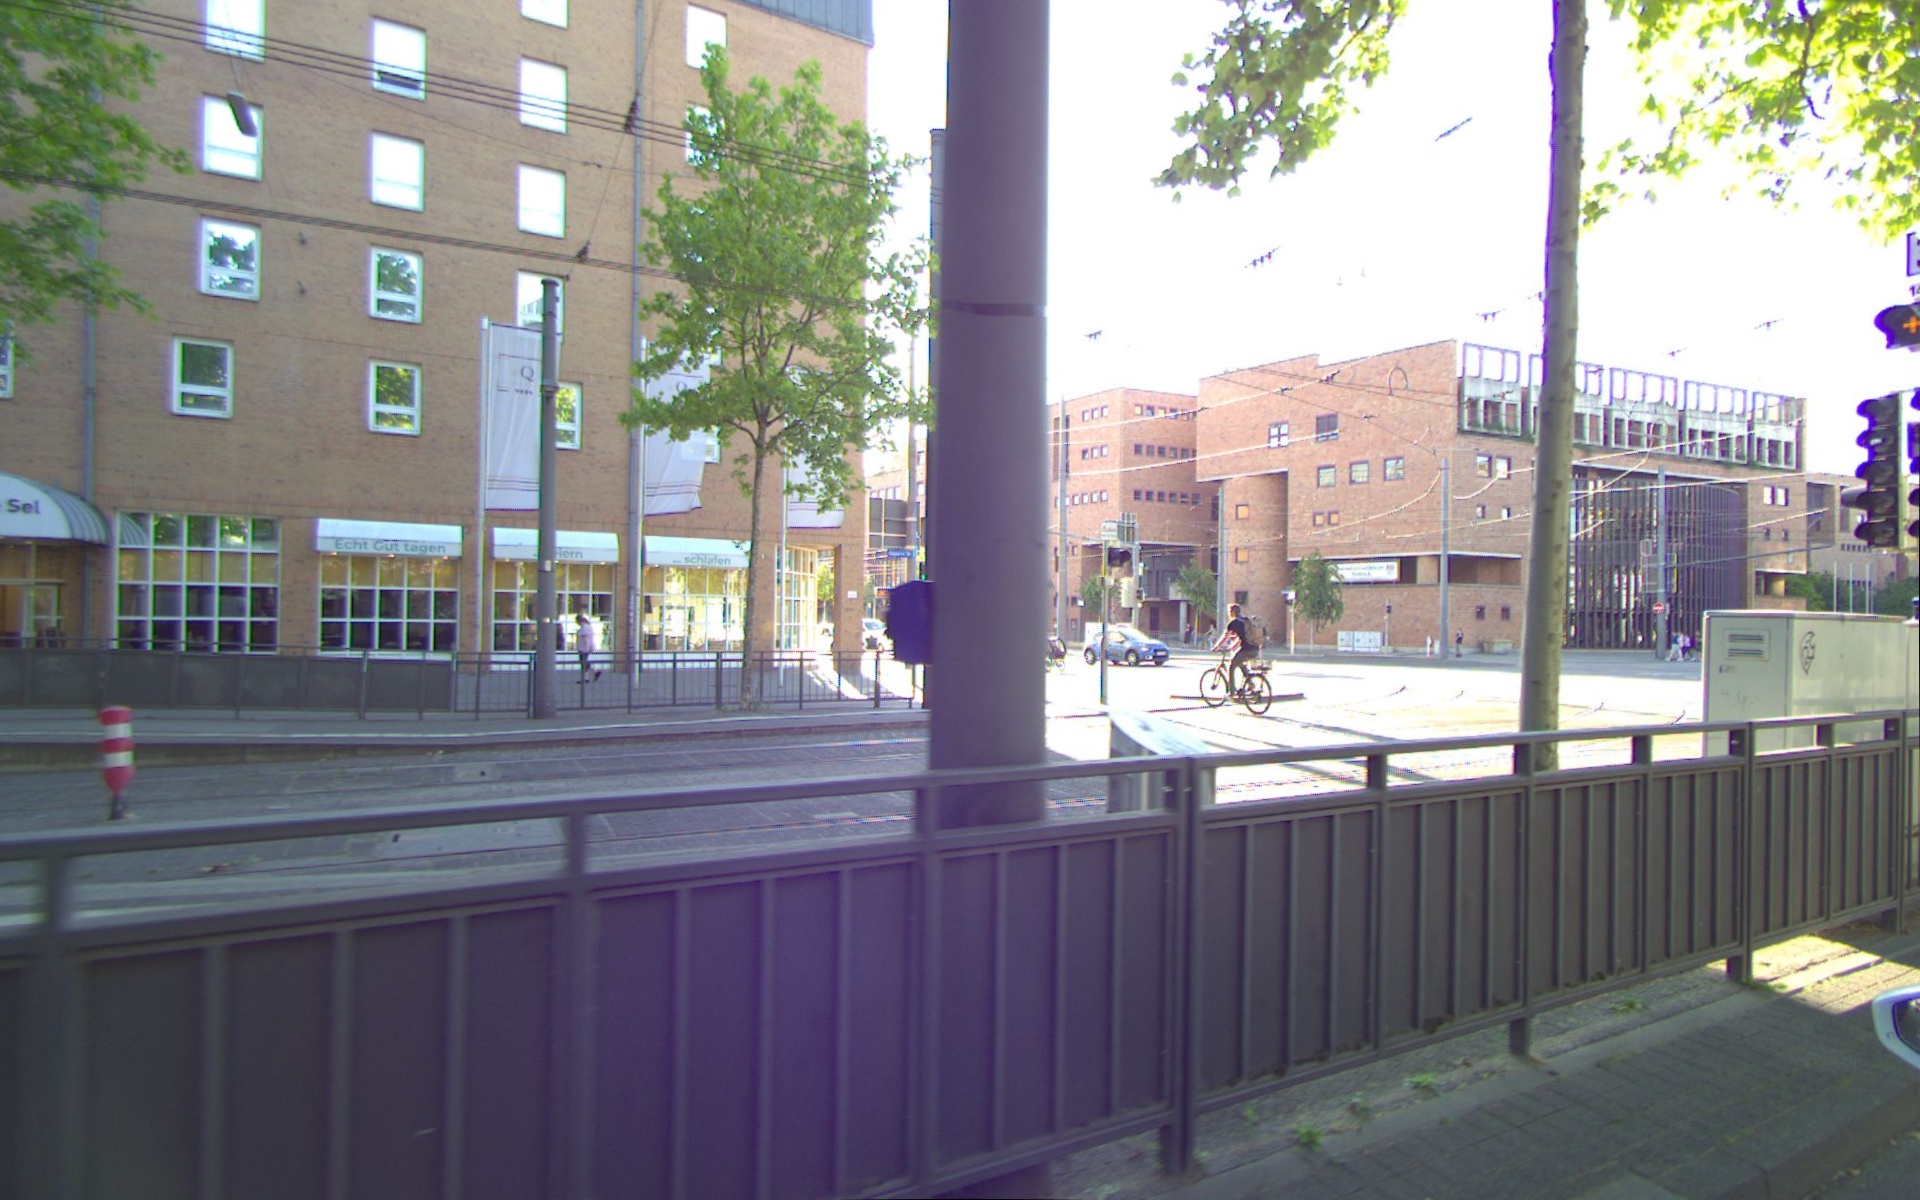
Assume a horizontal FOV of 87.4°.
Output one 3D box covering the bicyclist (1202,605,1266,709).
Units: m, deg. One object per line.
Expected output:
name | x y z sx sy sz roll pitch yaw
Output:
bicyclist | 4.942 1.011 18.159 0.744 1.808 0.845 1 -1 -33

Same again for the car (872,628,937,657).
car | -3.086 2.311 55.484 1.807 1.453 3.883 1 -1 -35

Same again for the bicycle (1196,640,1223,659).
bicycle | 17.393 3.433 70.011 0.448 1.255 2.077 1 -2 -34

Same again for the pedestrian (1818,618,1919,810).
pedestrian | 8.780 1.034 9.336 0.751 1.704 1.064 2 0 -37

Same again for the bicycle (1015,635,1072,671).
bicycle | 3.095 1.964 37.529 1.060 1.243 2.146 0 0 -31

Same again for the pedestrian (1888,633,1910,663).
pedestrian | 49.893 2.525 53.355 0.503 1.550 0.749 1 0 -37

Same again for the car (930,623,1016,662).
car | 0.534 1.908 45.921 1.805 1.604 4.456 1 -1 -33

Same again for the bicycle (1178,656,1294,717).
bicycle | 4.942 1.523 18.142 0.660 0.946 2.165 1 -1 -32

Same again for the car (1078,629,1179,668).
car | 6.870 1.952 41.300 1.979 1.476 3.931 1 -2 -33

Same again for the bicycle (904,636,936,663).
bicycle | -1.730 2.106 43.331 0.621 1.078 1.915 1 -1 -27

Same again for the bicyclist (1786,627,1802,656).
bicyclist | 50.071 2.477 60.300 0.782 1.697 0.589 1 -1 -37

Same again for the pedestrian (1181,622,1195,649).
pedestrian | 14.234 2.220 62.661 0.608 1.635 0.539 -1 2 -35

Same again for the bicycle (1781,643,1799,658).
bicycle | 49.895 3.042 60.374 1.823 0.893 0.509 2 -2 -39

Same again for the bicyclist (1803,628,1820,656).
bicyclist | 50.658 2.496 59.768 0.782 1.697 0.589 1 -1 -37

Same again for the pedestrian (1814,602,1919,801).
pedestrian | 9.333 0.980 10.031 0.732 1.896 1.065 2 0 -37

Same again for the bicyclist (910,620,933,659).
bicyclist | -1.653 1.690 43.206 0.631 1.686 0.900 1 -1 -27

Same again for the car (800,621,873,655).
car | -6.889 2.097 55.724 1.980 1.750 4.802 1 -1 -35

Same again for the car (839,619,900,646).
car | -5.907 2.082 65.170 1.982 1.719 4.315 1 -2 -37

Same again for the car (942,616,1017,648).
car | 1.036 1.762 55.635 1.982 1.719 4.315 1 -2 -37

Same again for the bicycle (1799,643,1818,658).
bicycle | 50.552 3.014 59.822 1.823 0.893 0.509 2 -2 -39

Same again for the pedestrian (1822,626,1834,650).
pedestrian | 67.569 2.957 78.192 0.538 1.803 0.521 1 -1 -23

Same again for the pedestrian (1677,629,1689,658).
pedestrian | 42.648 2.570 59.273 0.530 1.672 0.622 -1 -2 41

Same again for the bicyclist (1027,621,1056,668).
bicyclist | 3.050 1.658 37.541 0.683 1.703 0.899 1 -1 -32

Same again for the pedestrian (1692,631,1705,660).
pedestrian | 42.464 2.592 57.733 0.530 1.672 0.622 -1 -2 41

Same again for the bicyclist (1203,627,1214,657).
bicyclist | 17.335 2.954 70.114 0.447 2.087 0.557 1 -1 -34

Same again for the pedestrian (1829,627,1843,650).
pedestrian | 68.726 3.004 78.784 0.538 1.834 0.640 1 -1 -23

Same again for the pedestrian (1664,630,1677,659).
pedestrian | 41.017 2.547 57.970 0.530 1.672 0.622 -1 -2 41

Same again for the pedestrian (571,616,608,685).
pedestrian | -8.932 1.201 24.224 0.717 1.606 0.586 1 1 -31

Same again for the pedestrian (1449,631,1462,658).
pedestrian | 29.878 2.670 60.557 0.560 1.635 0.545 0 -1 1
